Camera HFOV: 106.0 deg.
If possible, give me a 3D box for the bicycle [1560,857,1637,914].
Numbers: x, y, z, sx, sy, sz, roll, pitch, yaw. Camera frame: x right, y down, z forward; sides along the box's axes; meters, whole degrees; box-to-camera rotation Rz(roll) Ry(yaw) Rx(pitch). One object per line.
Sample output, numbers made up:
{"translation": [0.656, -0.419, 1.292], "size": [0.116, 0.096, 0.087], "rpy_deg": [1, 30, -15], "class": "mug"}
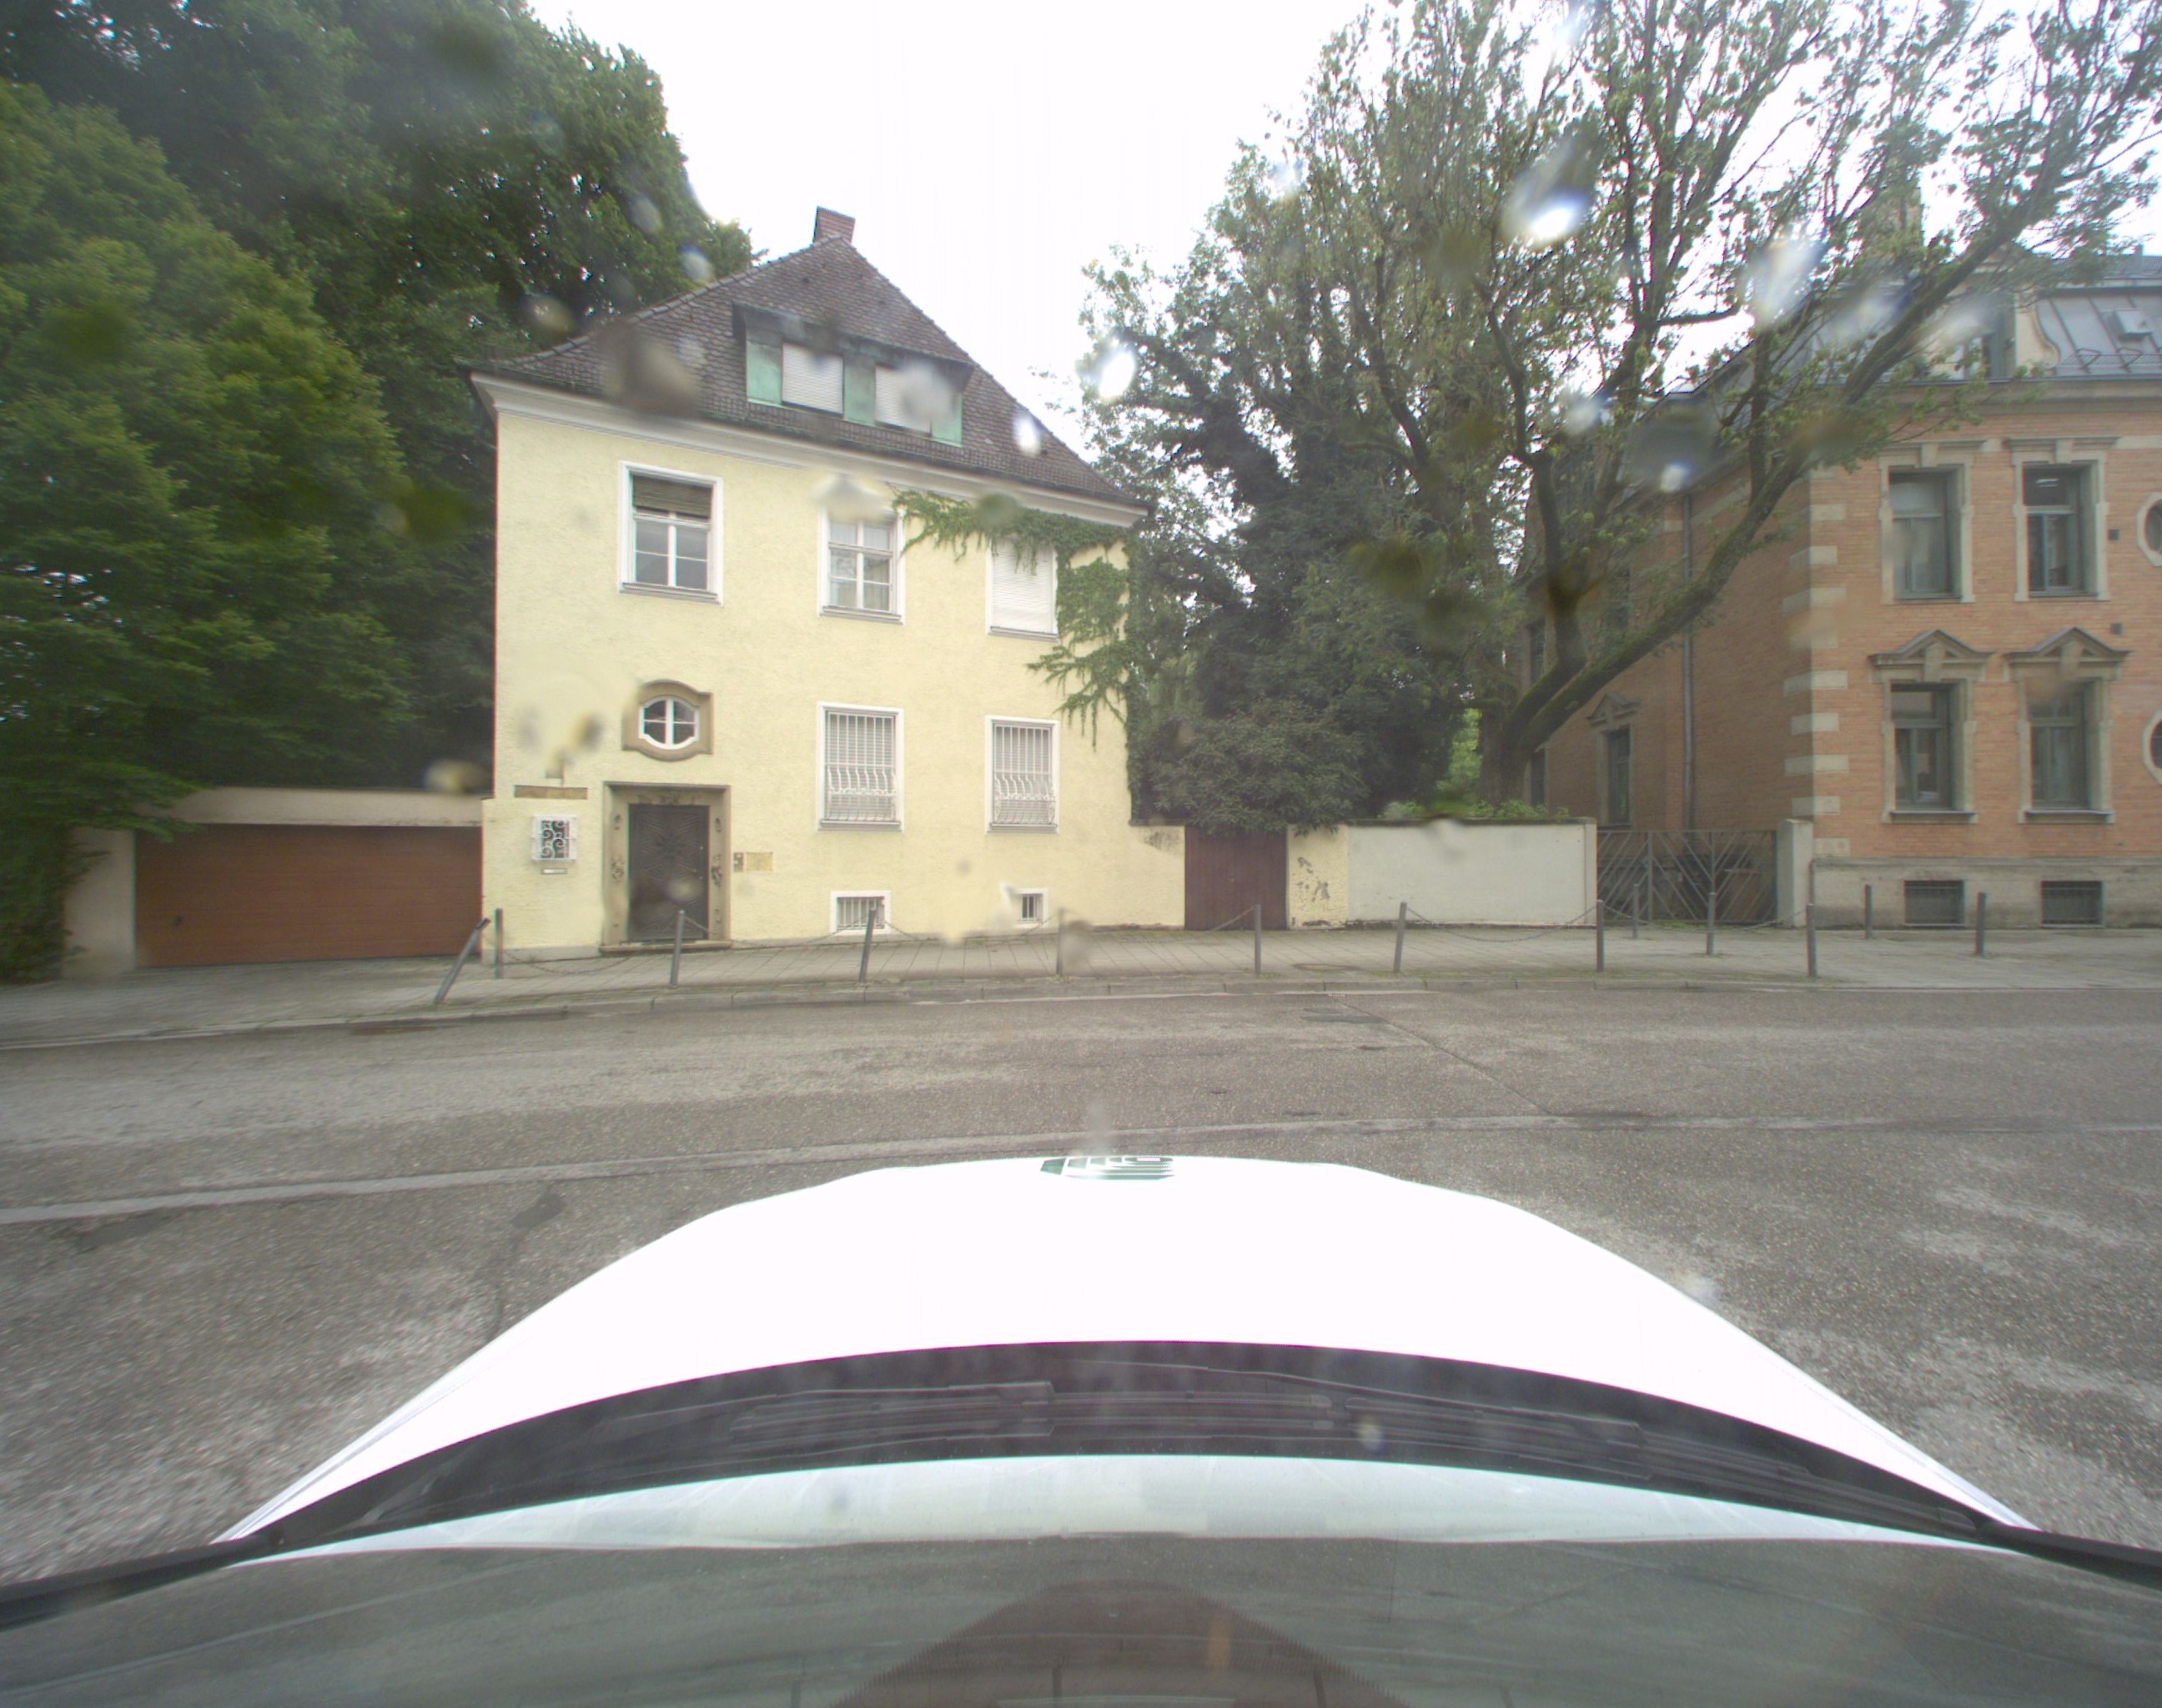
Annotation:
{"translation": [11.773, 0.690, 18.598], "size": [0.532, 1.219, 2.084], "rpy_deg": [0, -1, 4], "class": "bicycle"}
